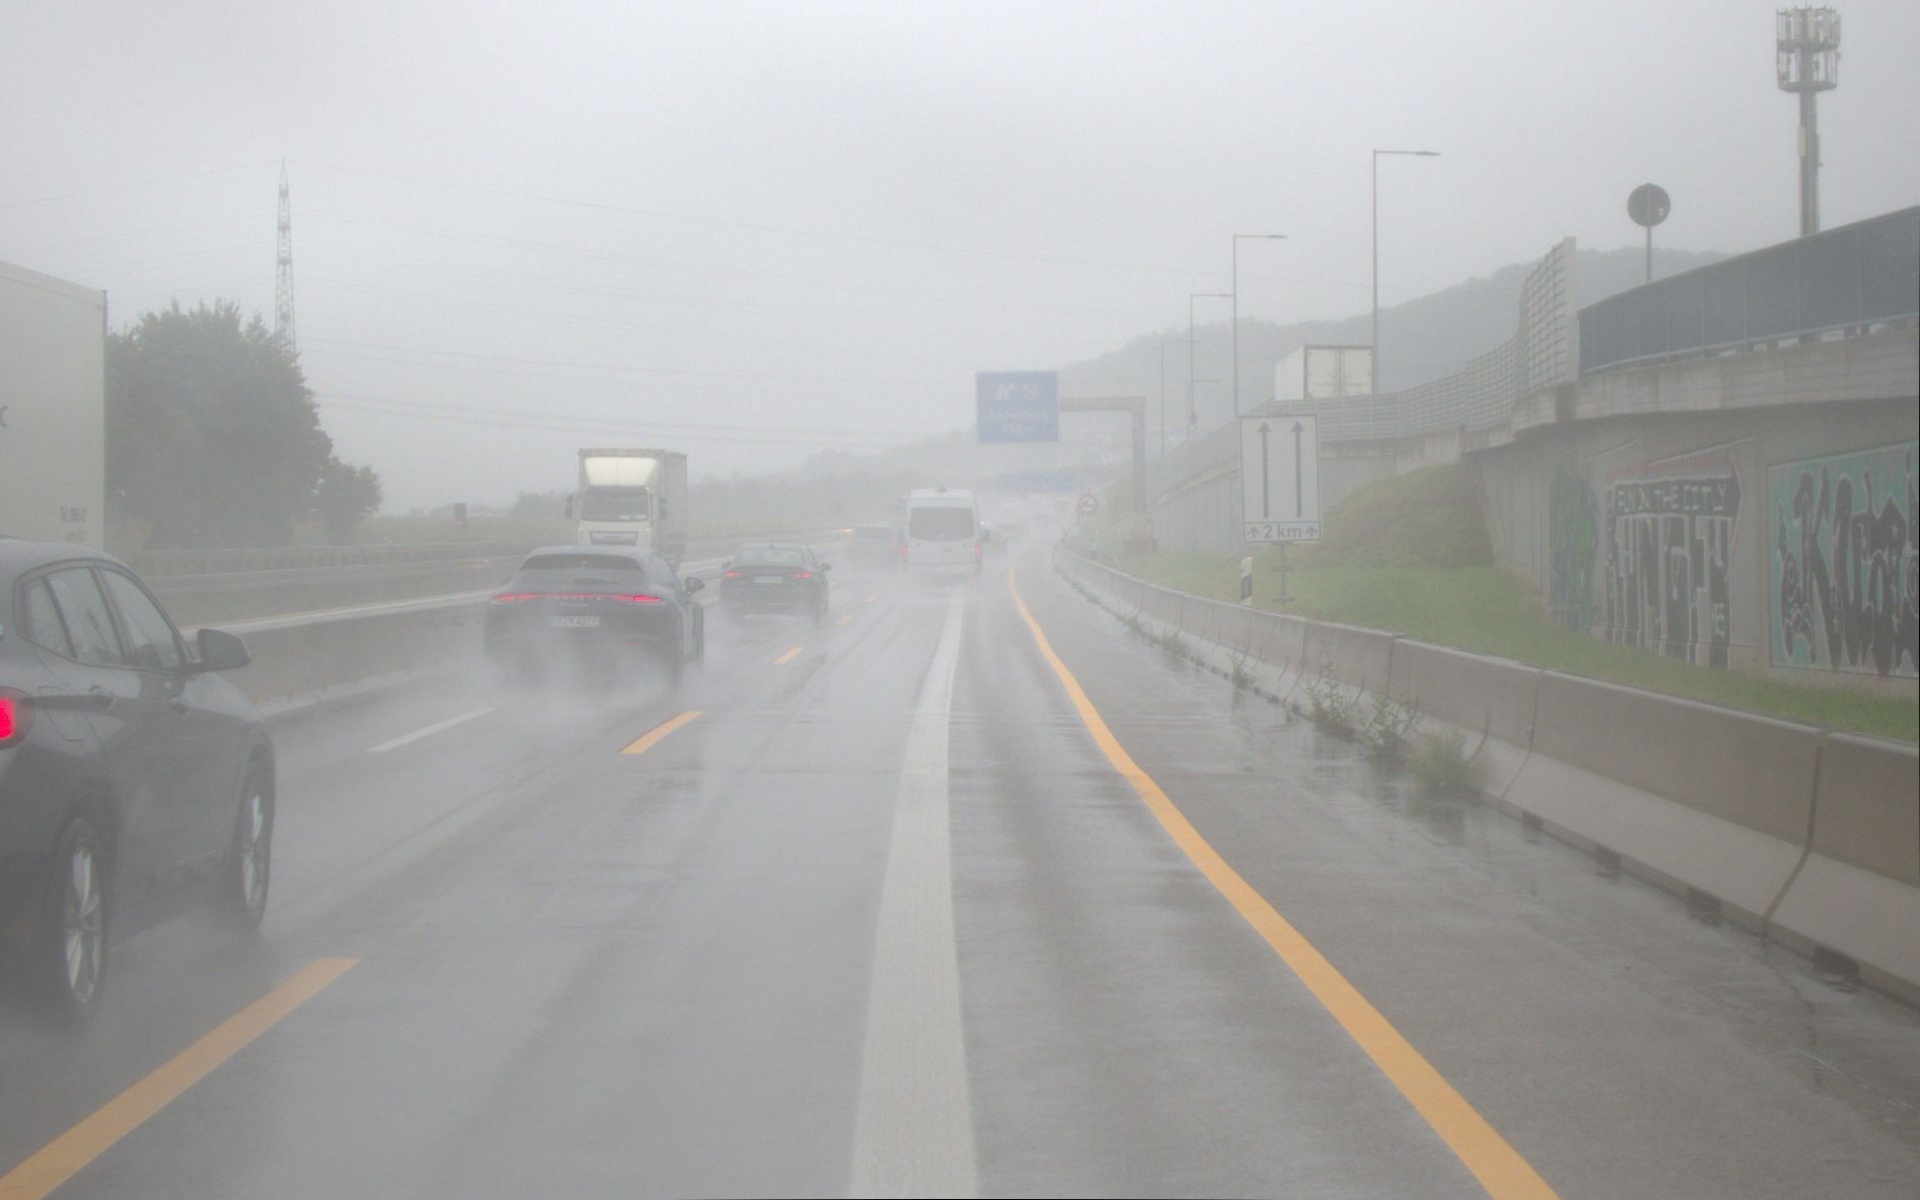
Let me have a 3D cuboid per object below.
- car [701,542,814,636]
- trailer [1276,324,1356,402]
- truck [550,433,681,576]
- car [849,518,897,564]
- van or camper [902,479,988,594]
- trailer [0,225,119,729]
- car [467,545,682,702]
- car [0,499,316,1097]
[{"bbox_3d":[-3.564,-0.229,61.017,1.844,1.486,4.262,-2,2,-2],"label":"car"},{"bbox_3d":[13.476,-8.941,130.887,1.993,2.099,13.768,1,0,2],"label":"trailer"},{"bbox_3d":[-10.516,-2.842,105.851,3.005,4.152,9.831,-1,0,0],"label":"truck"},{"bbox_3d":[-2.963,-1.988,116.375,1.566,1.475,2.822,-2,0,-2],"label":"car"},{"bbox_3d":[-0.395,-1.550,85.429,1.996,2.768,4.050,1,0,-2],"label":"van or camper"},{"bbox_3d":[-9.983,-1.118,29.611,2.547,4.573,12.010,1,0,0],"label":"trailer"},{"bbox_3d":[-3.890,0.215,35.301,1.844,1.486,4.262,1,0,-2],"label":"car"},{"bbox_3d":[-3.403,0.503,11.557,1.700,1.592,4.845,1,0,-2],"label":"car"}]
